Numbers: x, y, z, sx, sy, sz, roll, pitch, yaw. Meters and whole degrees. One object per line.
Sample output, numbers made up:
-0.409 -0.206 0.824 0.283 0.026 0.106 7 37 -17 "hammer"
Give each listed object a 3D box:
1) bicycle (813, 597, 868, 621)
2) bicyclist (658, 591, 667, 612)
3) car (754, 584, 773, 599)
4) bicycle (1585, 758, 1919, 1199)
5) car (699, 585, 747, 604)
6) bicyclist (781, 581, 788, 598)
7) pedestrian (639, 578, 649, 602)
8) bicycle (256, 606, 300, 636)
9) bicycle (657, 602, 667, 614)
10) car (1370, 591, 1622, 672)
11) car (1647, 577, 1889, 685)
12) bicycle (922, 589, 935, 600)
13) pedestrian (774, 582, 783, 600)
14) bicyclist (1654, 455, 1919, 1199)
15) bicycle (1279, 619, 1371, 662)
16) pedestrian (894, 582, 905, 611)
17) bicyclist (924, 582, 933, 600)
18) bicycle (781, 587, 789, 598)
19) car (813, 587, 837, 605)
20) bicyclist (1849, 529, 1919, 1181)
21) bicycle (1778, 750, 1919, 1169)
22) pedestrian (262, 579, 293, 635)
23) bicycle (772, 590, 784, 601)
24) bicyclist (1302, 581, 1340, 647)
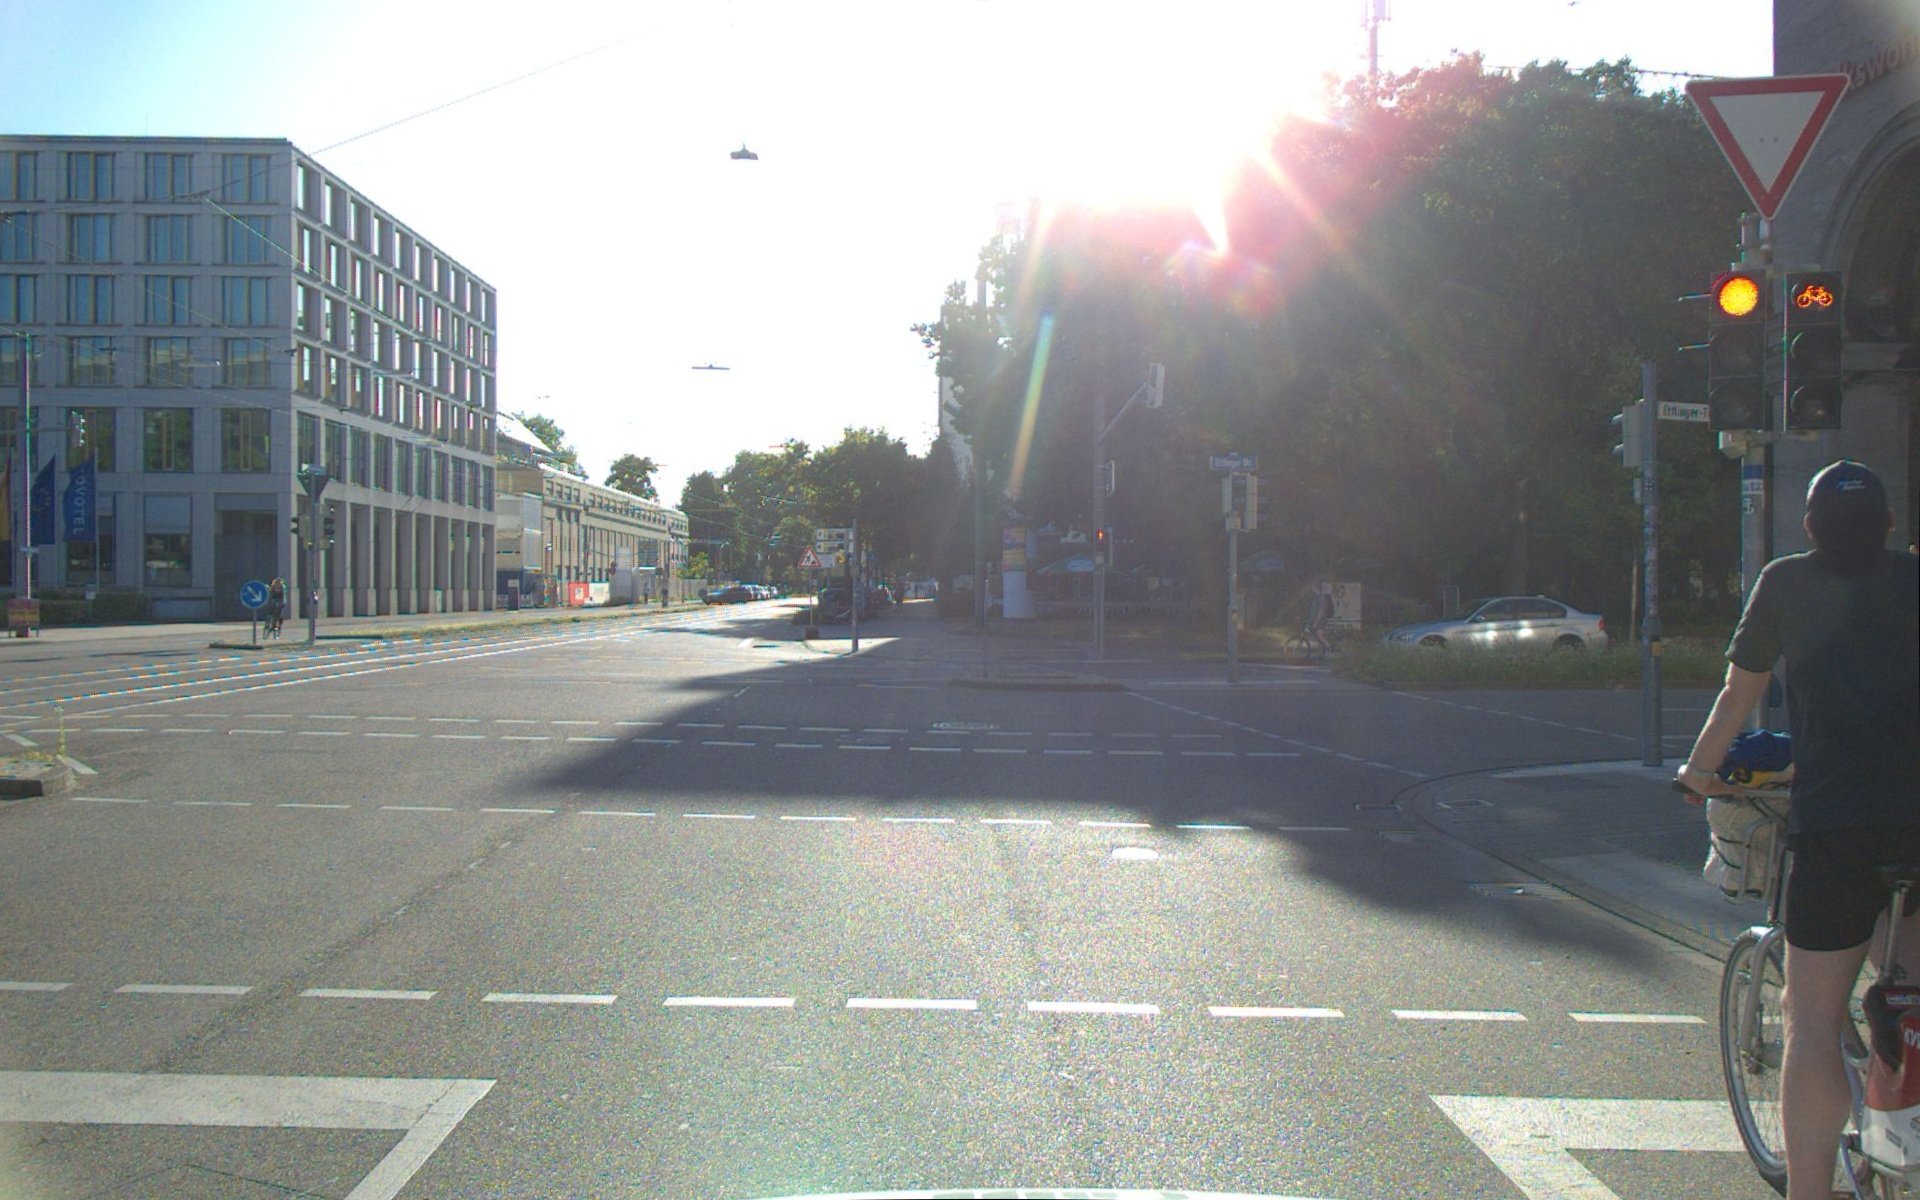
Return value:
-4.859 0.356 67.136 2.201 0.956 0.653 0 0 -6 "bicycle"
-21.253 0.108 118.115 0.484 1.525 0.666 0 0 2 "bicyclist"
-23.054 -1.009 194.353 1.954 1.673 3.997 0 0 -4 "car"
2.139 0.996 3.910 0.610 1.062 1.746 0 0 -2 "bicycle"
-20.459 -0.473 142.871 1.960 1.627 3.986 0 1 35 "car"
-20.482 -1.253 193.367 0.735 1.953 1.214 1 0 -2 "bicyclist"
-25.770 -0.789 134.845 0.577 1.922 0.477 1 -1 32 "pedestrian"
-19.786 0.600 47.982 0.560 0.837 1.718 0 0 0 "bicycle"
-21.252 0.570 118.071 0.484 0.854 1.156 -1 0 2 "bicycle"
10.852 0.629 33.721 4.483 1.543 2.000 1 0 -1 "car"
16.231 0.609 33.376 3.905 2.049 2.000 1 0 0 "car"
-3.609 -0.577 188.868 0.875 1.240 2.785 1 0 -12 "bicycle"
-20.618 -1.006 187.992 0.735 2.099 1.050 1 -1 5 "pedestrian"
2.142 0.568 3.898 0.610 1.745 0.912 0 0 -1 "bicyclist"
8.037 0.879 36.482 1.902 0.905 0.718 1 0 5 "bicycle"
-3.566 -0.188 97.643 0.566 1.719 0.584 0 0 -8 "pedestrian"
-3.584 -0.981 188.763 0.875 2.049 0.746 1 -1 -12 "bicyclist"
-20.490 -0.859 193.484 0.735 1.226 3.107 1 0 -2 "bicycle"
-12.642 -0.349 154.889 1.953 1.668 3.999 1 0 -1 "car"
2.885 0.691 4.350 0.572 1.769 0.950 0 0 0 "bicyclist"
2.885 1.012 4.385 0.570 1.062 1.747 0 0 0 "bicycle"
-19.788 0.203 47.958 0.560 1.623 0.744 0 0 0 "pedestrian"
-20.640 -0.549 187.942 0.735 1.226 3.109 1 0 5 "bicycle"
7.958 0.304 36.489 0.731 1.431 0.702 1 -1 6 "bicyclist"
